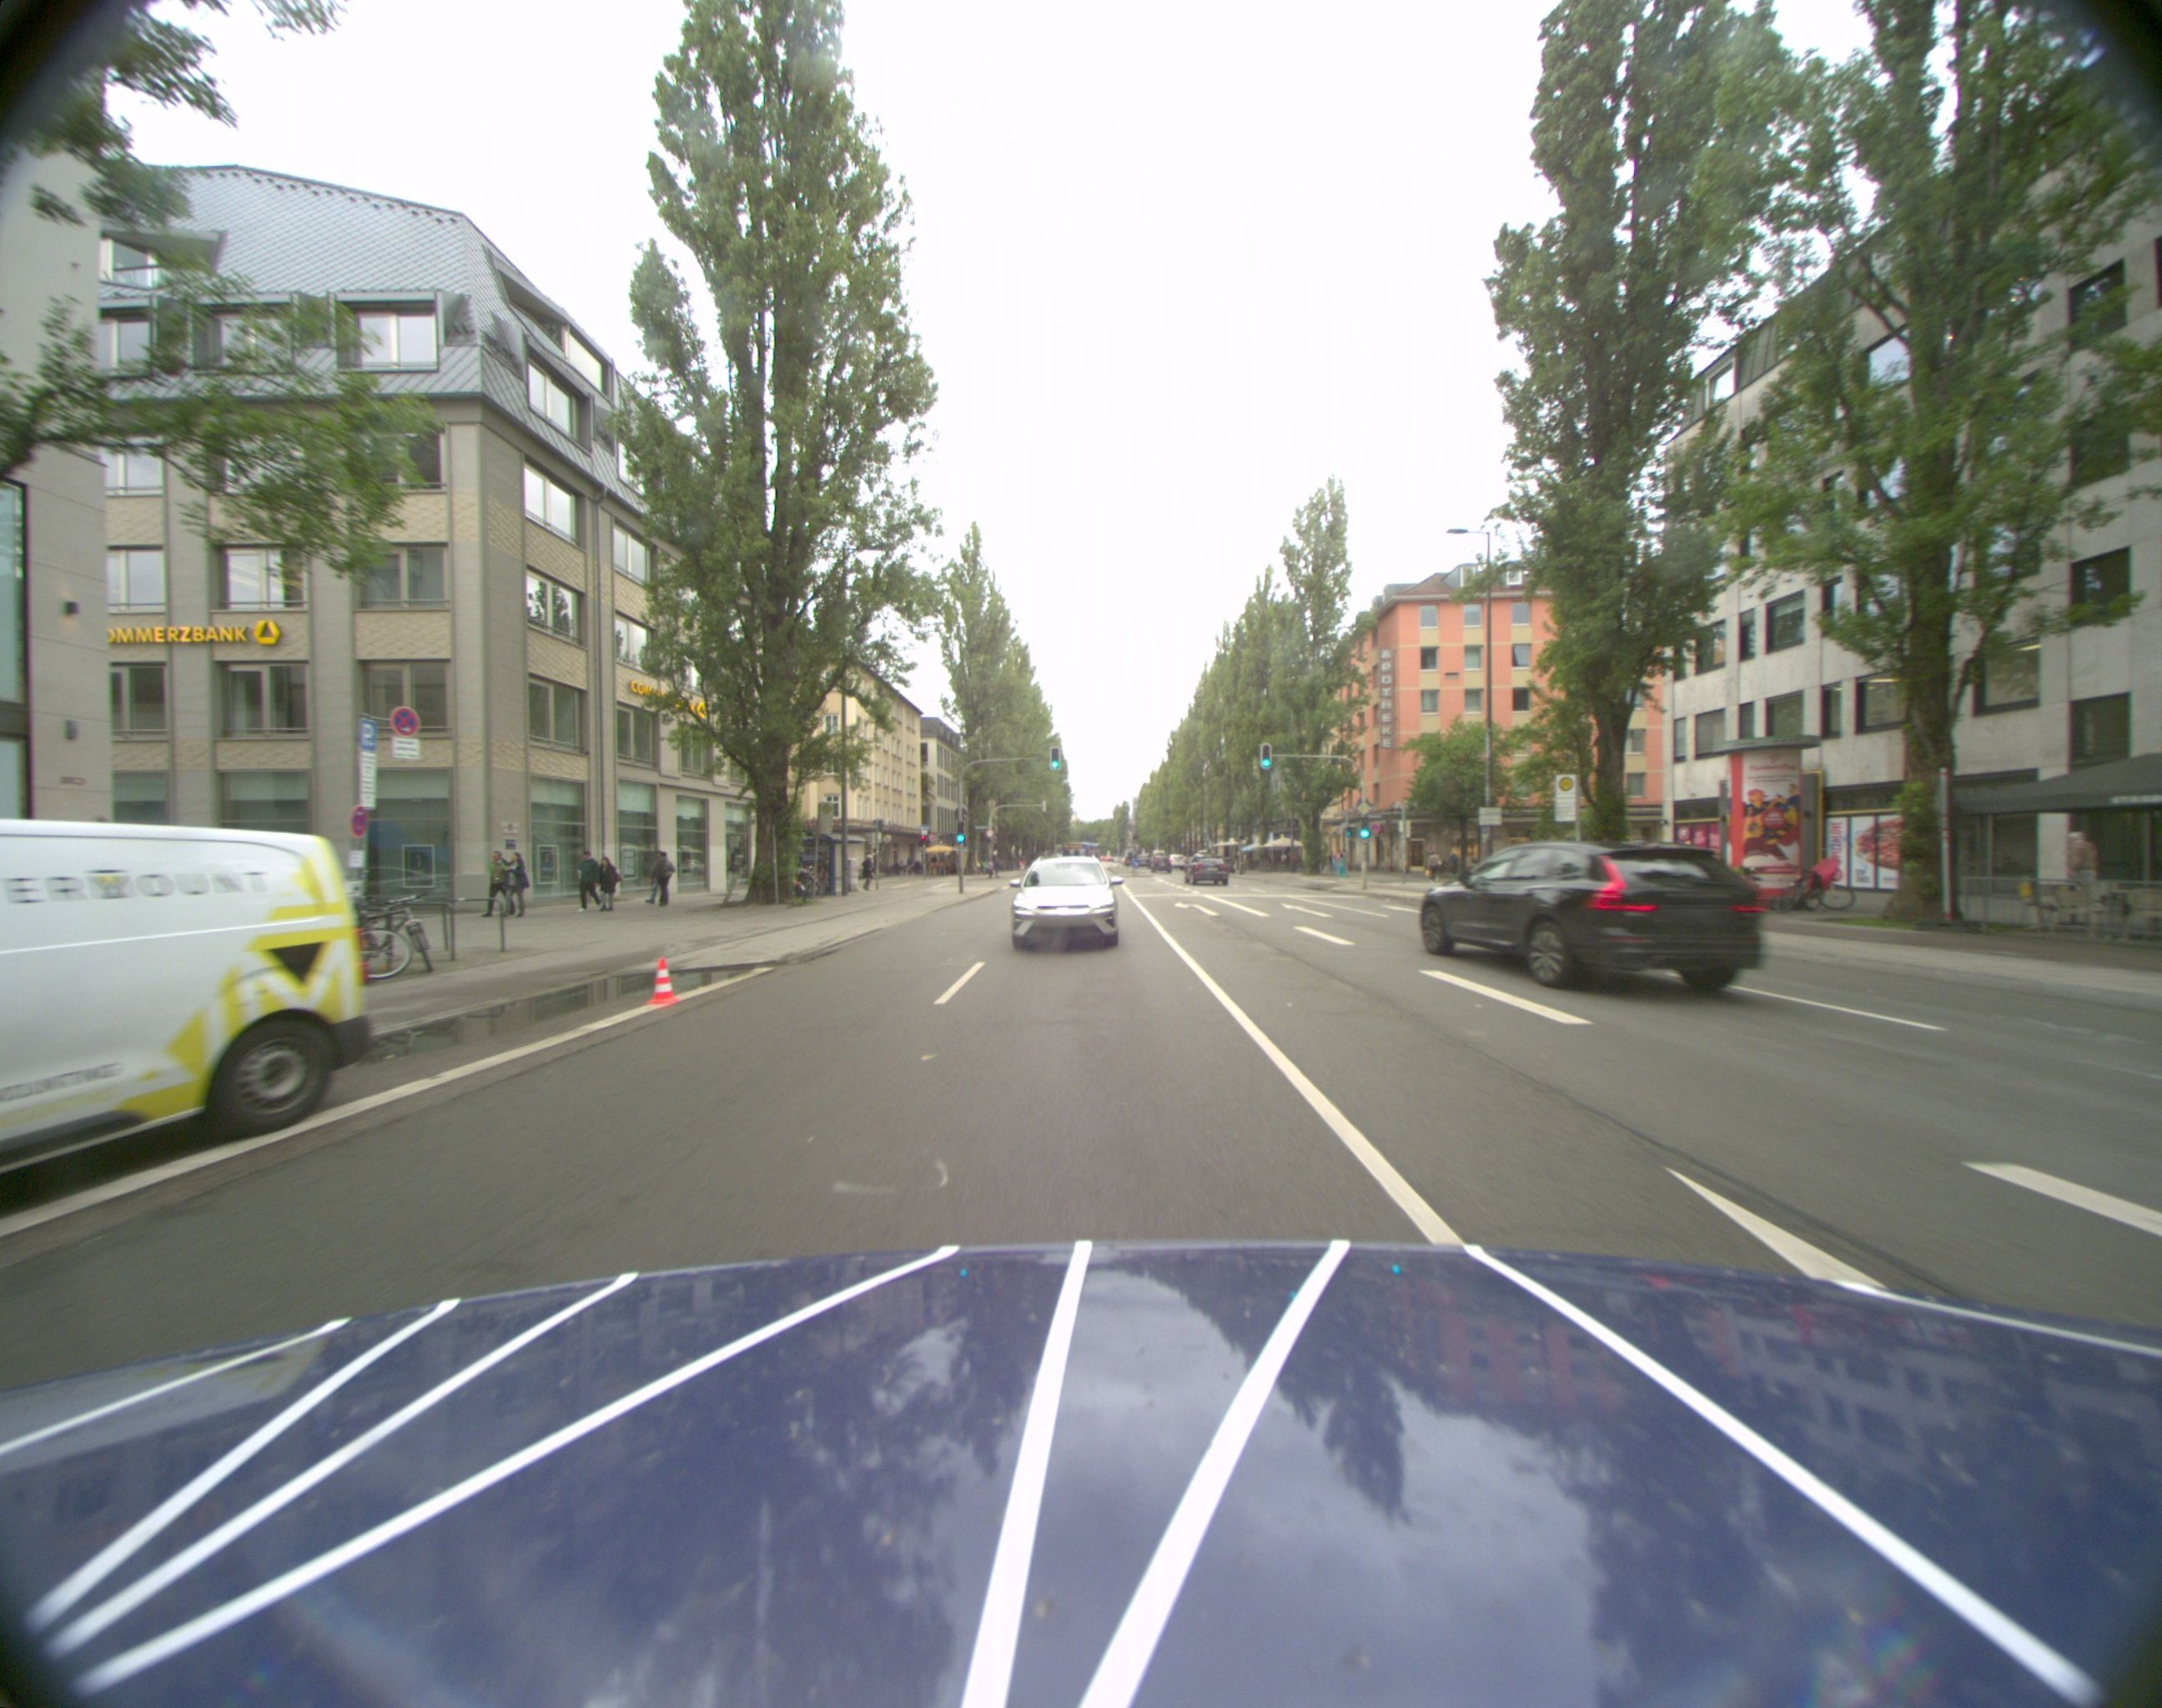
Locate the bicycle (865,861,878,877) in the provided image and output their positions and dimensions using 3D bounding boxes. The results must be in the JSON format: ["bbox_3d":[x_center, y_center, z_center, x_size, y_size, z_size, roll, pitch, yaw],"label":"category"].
[{"bbox_3d":[-15.461,1.099,56.091,0.435,1.164,1.811,-2,1,0],"label":"bicycle"}]

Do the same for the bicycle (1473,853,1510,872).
[{"bbox_3d":[27.119,0.550,50.180,2.061,1.177,0.690,-1,1,4],"label":"bicycle"}]

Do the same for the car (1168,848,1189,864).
[{"bbox_3d":[10.643,0.223,83.257,1.841,1.706,4.636,0,0,2],"label":"car"}]

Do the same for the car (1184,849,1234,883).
[{"bbox_3d":[6.796,0.589,40.706,1.918,1.671,4.586,1,0,1],"label":"car"}]

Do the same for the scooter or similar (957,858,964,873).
[{"bbox_3d":[-10.034,0.977,63.470,0.408,1.236,1.370,-1,0,-15],"label":"scooter or similar"}]

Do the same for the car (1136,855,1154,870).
[{"bbox_3d":[7.880,1.057,93.627,1.889,1.736,4.439,-1,0,2],"label":"car"}]

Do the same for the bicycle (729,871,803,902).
[{"bbox_3d":[-10.757,1.105,26.025,2.153,1.011,0.874,-1,1,1],"label":"bicycle"}]

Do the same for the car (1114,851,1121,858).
[{"bbox_3d":[9.629,0.127,199.287,1.848,1.626,4.575,1,0,2],"label":"car"}]

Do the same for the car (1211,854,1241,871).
[{"bbox_3d":[12.921,0.704,67.895,1.707,1.430,4.589,1,1,0],"label":"car"}]

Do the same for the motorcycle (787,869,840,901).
[{"bbox_3d":[-9.585,1.110,27.245,1.728,1.133,0.510,-1,1,2],"label":"motorcycle"}]

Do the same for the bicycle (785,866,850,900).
[{"bbox_3d":[-10.130,1.109,29.238,2.321,1.245,0.477,-1,1,1],"label":"bicycle"}]

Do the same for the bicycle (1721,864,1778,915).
[{"bbox_3d":[15.995,0.824,18.220,0.507,1.082,1.812,-2,1,25],"label":"bicycle"}]

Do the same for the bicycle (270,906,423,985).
[{"bbox_3d":[-10.226,1.271,10.596,1.761,1.038,0.484,-1,1,5],"label":"bicycle"}]

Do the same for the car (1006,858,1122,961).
[{"bbox_3d":[-0.246,0.879,13.866,1.758,1.529,3.916,-2,0,1],"label":"car"}]

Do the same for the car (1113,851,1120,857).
[{"bbox_3d":[10.365,-0.085,221.357,1.848,1.626,4.575,1,0,2],"label":"car"}]

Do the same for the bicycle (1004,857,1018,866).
[{"bbox_3d":[-8.575,0.904,92.851,1.666,1.100,0.396,-1,1,-10],"label":"bicycle"}]

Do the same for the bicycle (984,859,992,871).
[{"bbox_3d":[-8.270,0.989,67.495,0.510,1.042,1.770,-1,0,-1],"label":"bicycle"}]

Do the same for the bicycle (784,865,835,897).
[{"bbox_3d":[-11.003,1.091,30.727,2.241,1.245,0.478,-1,1,25],"label":"bicycle"}]

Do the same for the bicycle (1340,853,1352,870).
[{"bbox_3d":[18.493,0.493,53.041,0.422,1.135,1.373,-1,1,2],"label":"bicycle"}]

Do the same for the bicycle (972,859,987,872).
[{"bbox_3d":[-8.697,0.988,65.110,0.405,1.064,1.813,-6,0,17],"label":"bicycle"}]

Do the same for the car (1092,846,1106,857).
[{"bbox_3d":[2.739,-0.365,118.023,2.052,1.671,4.586,1,0,1],"label":"car"}]

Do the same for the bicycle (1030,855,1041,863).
[{"bbox_3d":[-7.646,0.855,127.217,0.829,1.403,2.594,-2,0,-25],"label":"bicycle"}]

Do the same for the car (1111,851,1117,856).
[{"bbox_3d":[10.474,-0.266,244.230,1.848,1.626,4.575,1,0,2],"label":"car"}]

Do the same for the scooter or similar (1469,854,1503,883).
[{"bbox_3d":[19.217,0.679,36.052,1.362,1.331,0.439,-1,1,21],"label":"scooter or similar"}]

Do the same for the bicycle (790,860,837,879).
[{"bbox_3d":[-19.139,1.094,54.446,2.978,1.245,0.999,-2,1,1],"label":"bicycle"}]

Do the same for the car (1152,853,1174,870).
[{"bbox_3d":[7.203,0.639,66.795,1.565,1.487,3.694,0,0,0],"label":"car"}]

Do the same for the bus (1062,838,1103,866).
[{"bbox_3d":[0.331,-0.216,83.549,2.804,2.886,12.865,-1,0,8],"label":"bus"}]

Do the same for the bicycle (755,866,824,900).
[{"bbox_3d":[-10.981,1.093,28.630,2.349,1.245,0.633,-1,1,1],"label":"bicycle"}]

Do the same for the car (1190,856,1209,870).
[{"bbox_3d":[12.805,0.973,82.307,1.497,1.373,4.186,1,1,1],"label":"car"}]

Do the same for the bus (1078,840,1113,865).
[{"bbox_3d":[1.955,-0.220,95.609,2.804,2.886,12.865,-1,0,8],"label":"bus"}]

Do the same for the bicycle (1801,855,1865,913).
[{"bbox_3d":[17.857,0.688,18.039,1.957,1.293,0.584,-1,1,-30],"label":"bicycle"}]

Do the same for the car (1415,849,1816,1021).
[{"bbox_3d":[6.051,0.764,9.425,1.940,1.614,4.336,1,0,1],"label":"car"}]

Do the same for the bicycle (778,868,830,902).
[{"bbox_3d":[-10.189,1.146,27.944,1.728,1.232,0.449,-1,1,2],"label":"bicycle"}]

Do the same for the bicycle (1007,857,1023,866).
[{"bbox_3d":[-8.202,0.904,94.176,1.871,1.129,0.339,-1,1,-7],"label":"bicycle"}]
